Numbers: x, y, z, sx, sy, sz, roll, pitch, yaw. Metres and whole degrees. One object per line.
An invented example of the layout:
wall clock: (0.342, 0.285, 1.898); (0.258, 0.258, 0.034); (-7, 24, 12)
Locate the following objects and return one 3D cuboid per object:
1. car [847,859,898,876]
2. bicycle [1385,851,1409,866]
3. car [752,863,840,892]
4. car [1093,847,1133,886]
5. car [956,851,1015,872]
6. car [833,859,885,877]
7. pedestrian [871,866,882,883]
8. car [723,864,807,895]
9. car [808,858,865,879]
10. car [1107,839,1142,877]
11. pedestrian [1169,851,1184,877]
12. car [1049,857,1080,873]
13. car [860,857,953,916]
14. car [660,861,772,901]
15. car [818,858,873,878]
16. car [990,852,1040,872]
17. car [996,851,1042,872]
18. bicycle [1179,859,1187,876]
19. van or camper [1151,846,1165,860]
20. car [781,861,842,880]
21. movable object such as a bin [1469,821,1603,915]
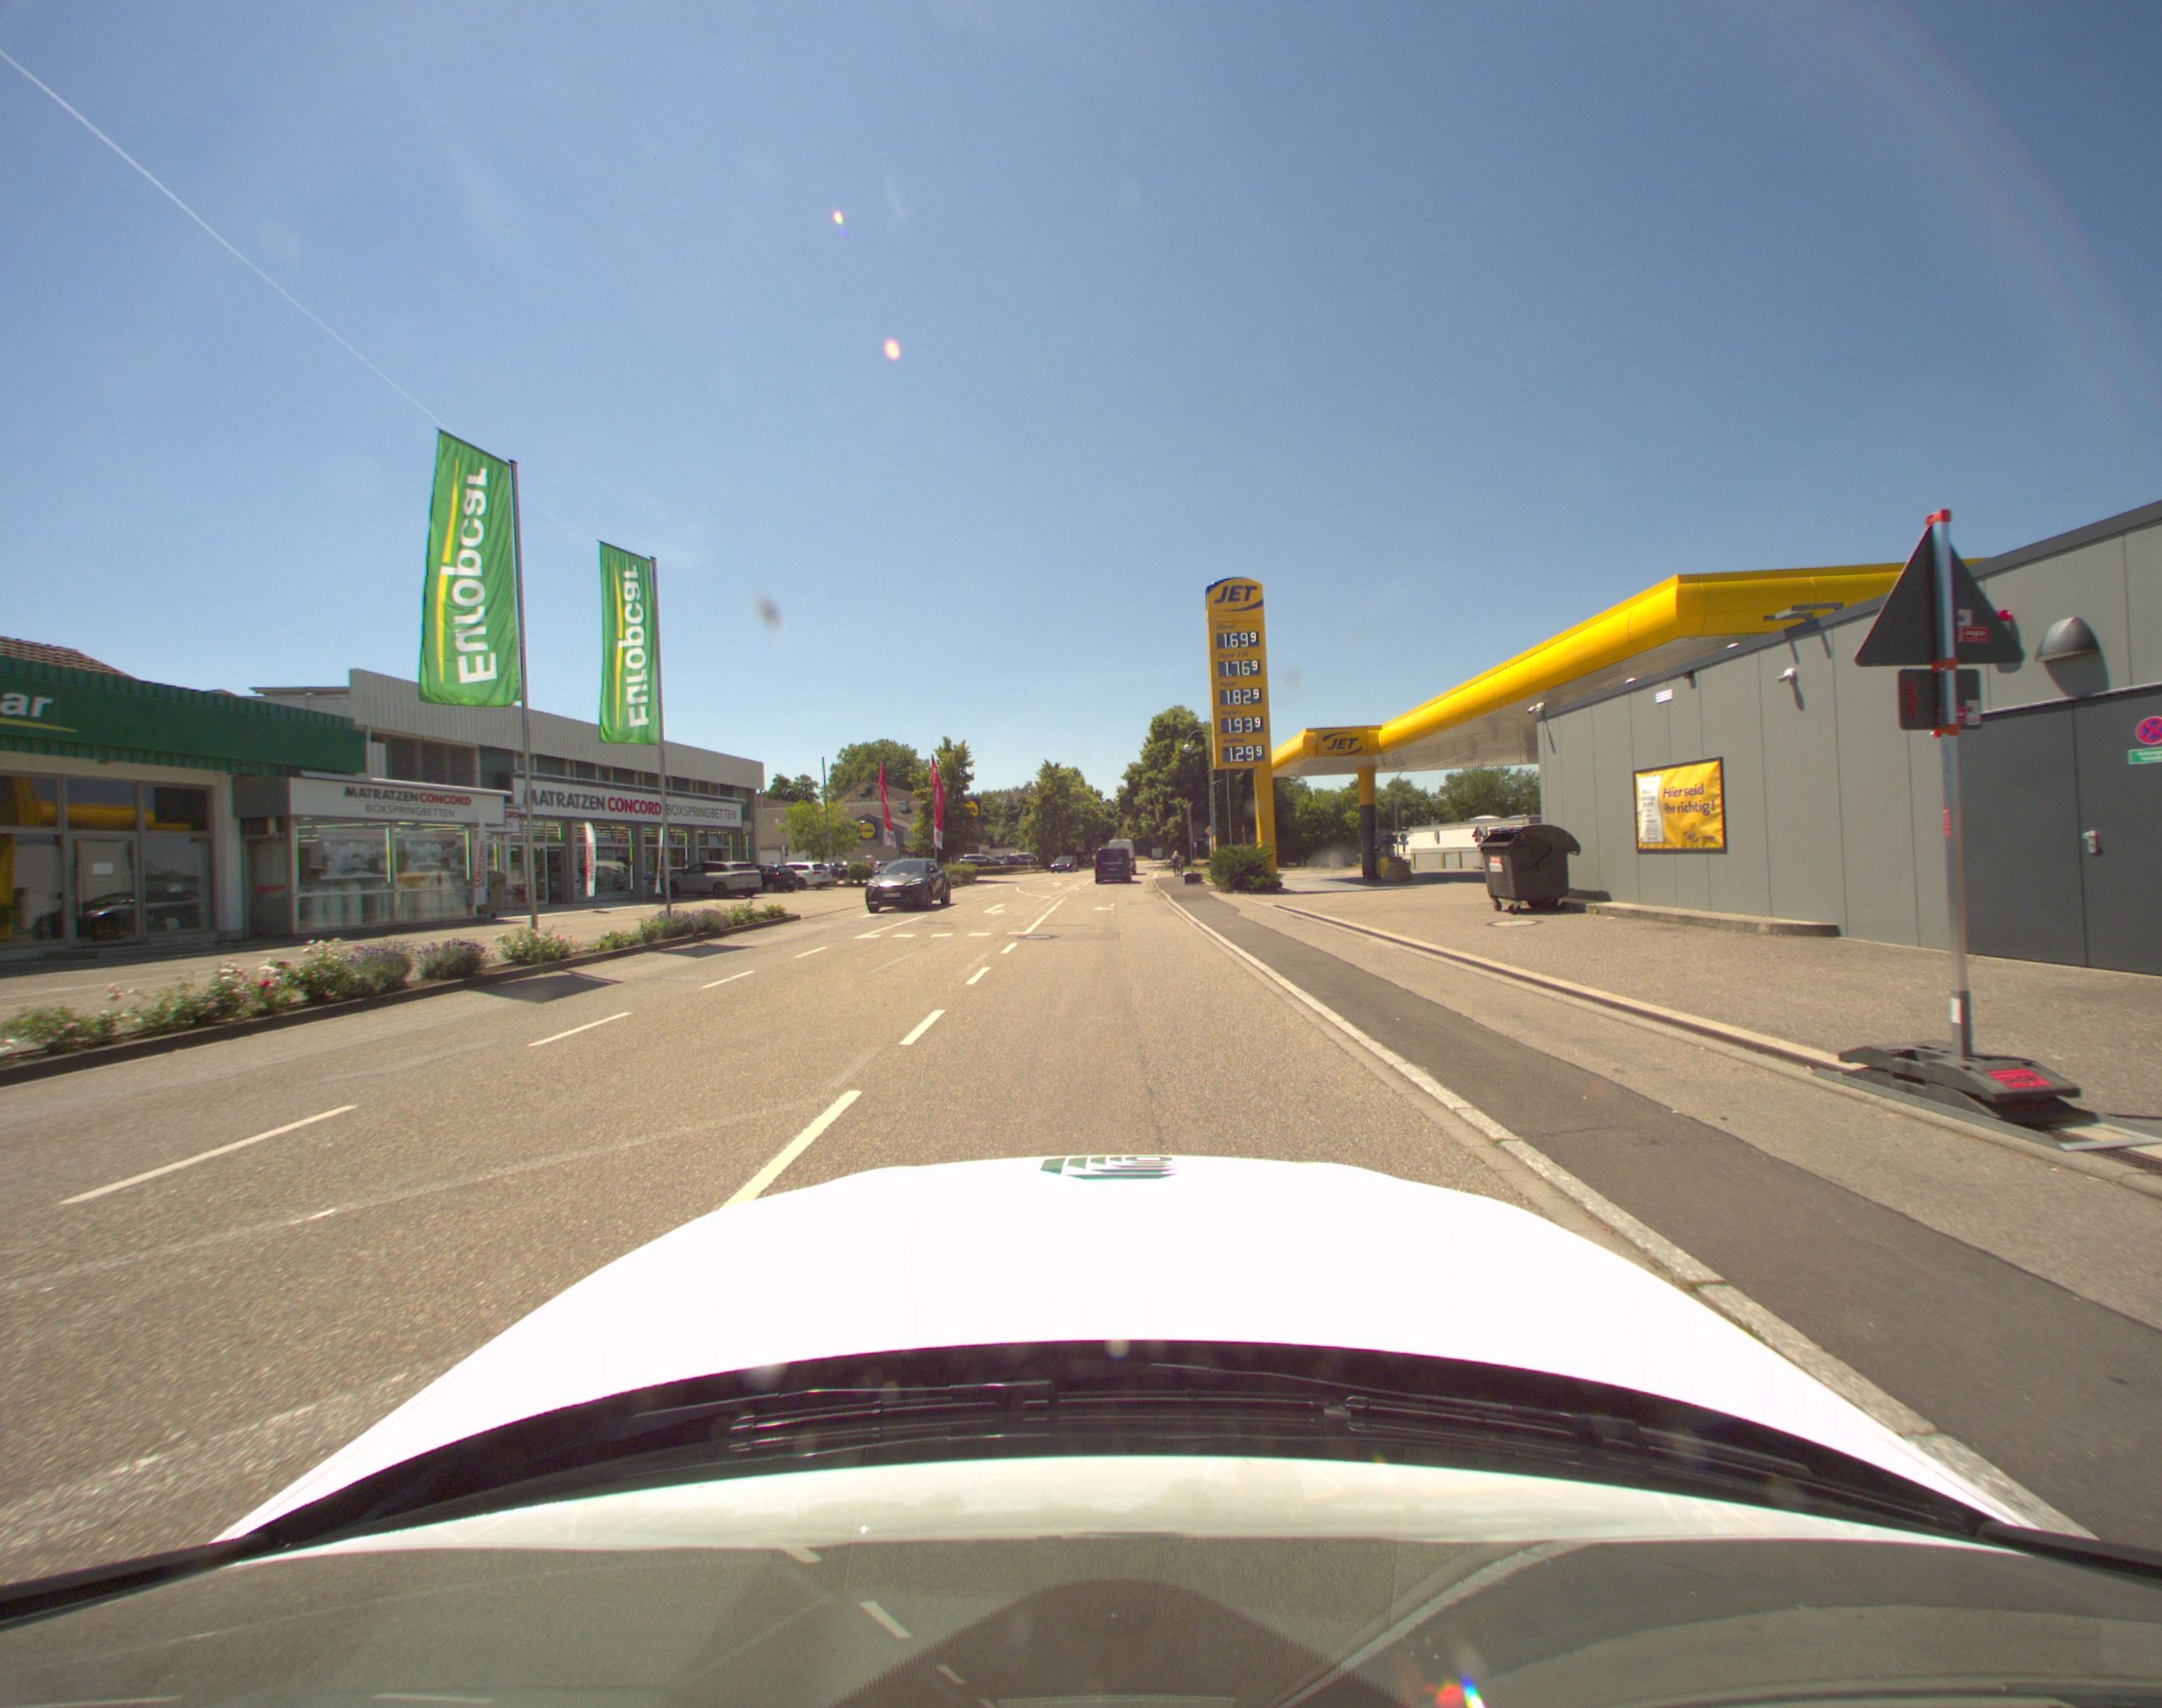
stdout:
car: (-19.795, 1.294, 77.339); (4.296, 1.530, 1.828); (-1, -1, 1)
bicycle: (24.638, 0.369, 63.494); (1.684, 1.097, 0.469); (-1, -1, 7)
car: (-15.664, 1.302, 44.876); (4.150, 1.446, 1.989); (-1, 0, 17)
car: (1.792, 0.615, 43.649); (1.984, 1.952, 5.010); (0, 0, 4)
car: (-8.276, 0.664, 70.907); (4.679, 1.762, 2.104); (-1, -1, 9)
car: (-20.551, 1.296, 75.398); (4.296, 1.530, 1.828); (-1, -1, 1)
pedestrian: (-18.319, 1.852, 72.910); (0.891, 1.483, 0.803); (-1, -1, -20)
car: (-16.322, 1.325, 42.093); (3.595, 1.474, 2.010); (-1, 0, 20)
car: (-20.258, 1.202, 67.634); (4.226, 1.589, 1.767); (-1, -1, -3)
car: (3.239, 0.282, 60.282); (2.066, 2.702, 4.678); (0, 0, 9)
pedestrian: (5.503, 0.575, 46.863); (0.764, 1.421, 0.870); (-1, 0, 8)
car: (-1.420, 0.978, 72.370); (1.921, 1.400, 4.700); (-1, -1, 8)
car: (-5.269, 0.931, 25.081); (1.755, 1.527, 4.140); (-3, 0, 2)
car: (-16.620, 1.226, 37.108); (4.492, 1.664, 2.010); (-1, 0, 20)
car: (-21.113, 1.258, 73.056); (4.296, 1.655, 2.115); (-1, -1, 1)
car: (-6.327, 0.770, 78.311); (4.357, 1.845, 2.110); (-1, -1, 11)
car: (-6.175, 0.723, 81.028); (4.338, 1.980, 1.906); (-1, -1, 3)
bicycle: (5.822, 0.778, 46.560); (0.375, 0.912, 1.602); (-1, 0, 9)
van or camper: (15.998, -0.240, 170.159); (2.622, 2.929, 5.209); (-1, 0, 2)
car: (-21.423, 1.321, 64.851); (4.226, 1.369, 1.767); (-1, -1, -3)
movable object such as a bin: (7.712, 0.223, 13.921); (1.429, 1.438, 1.468); (-3, 0, 2)
